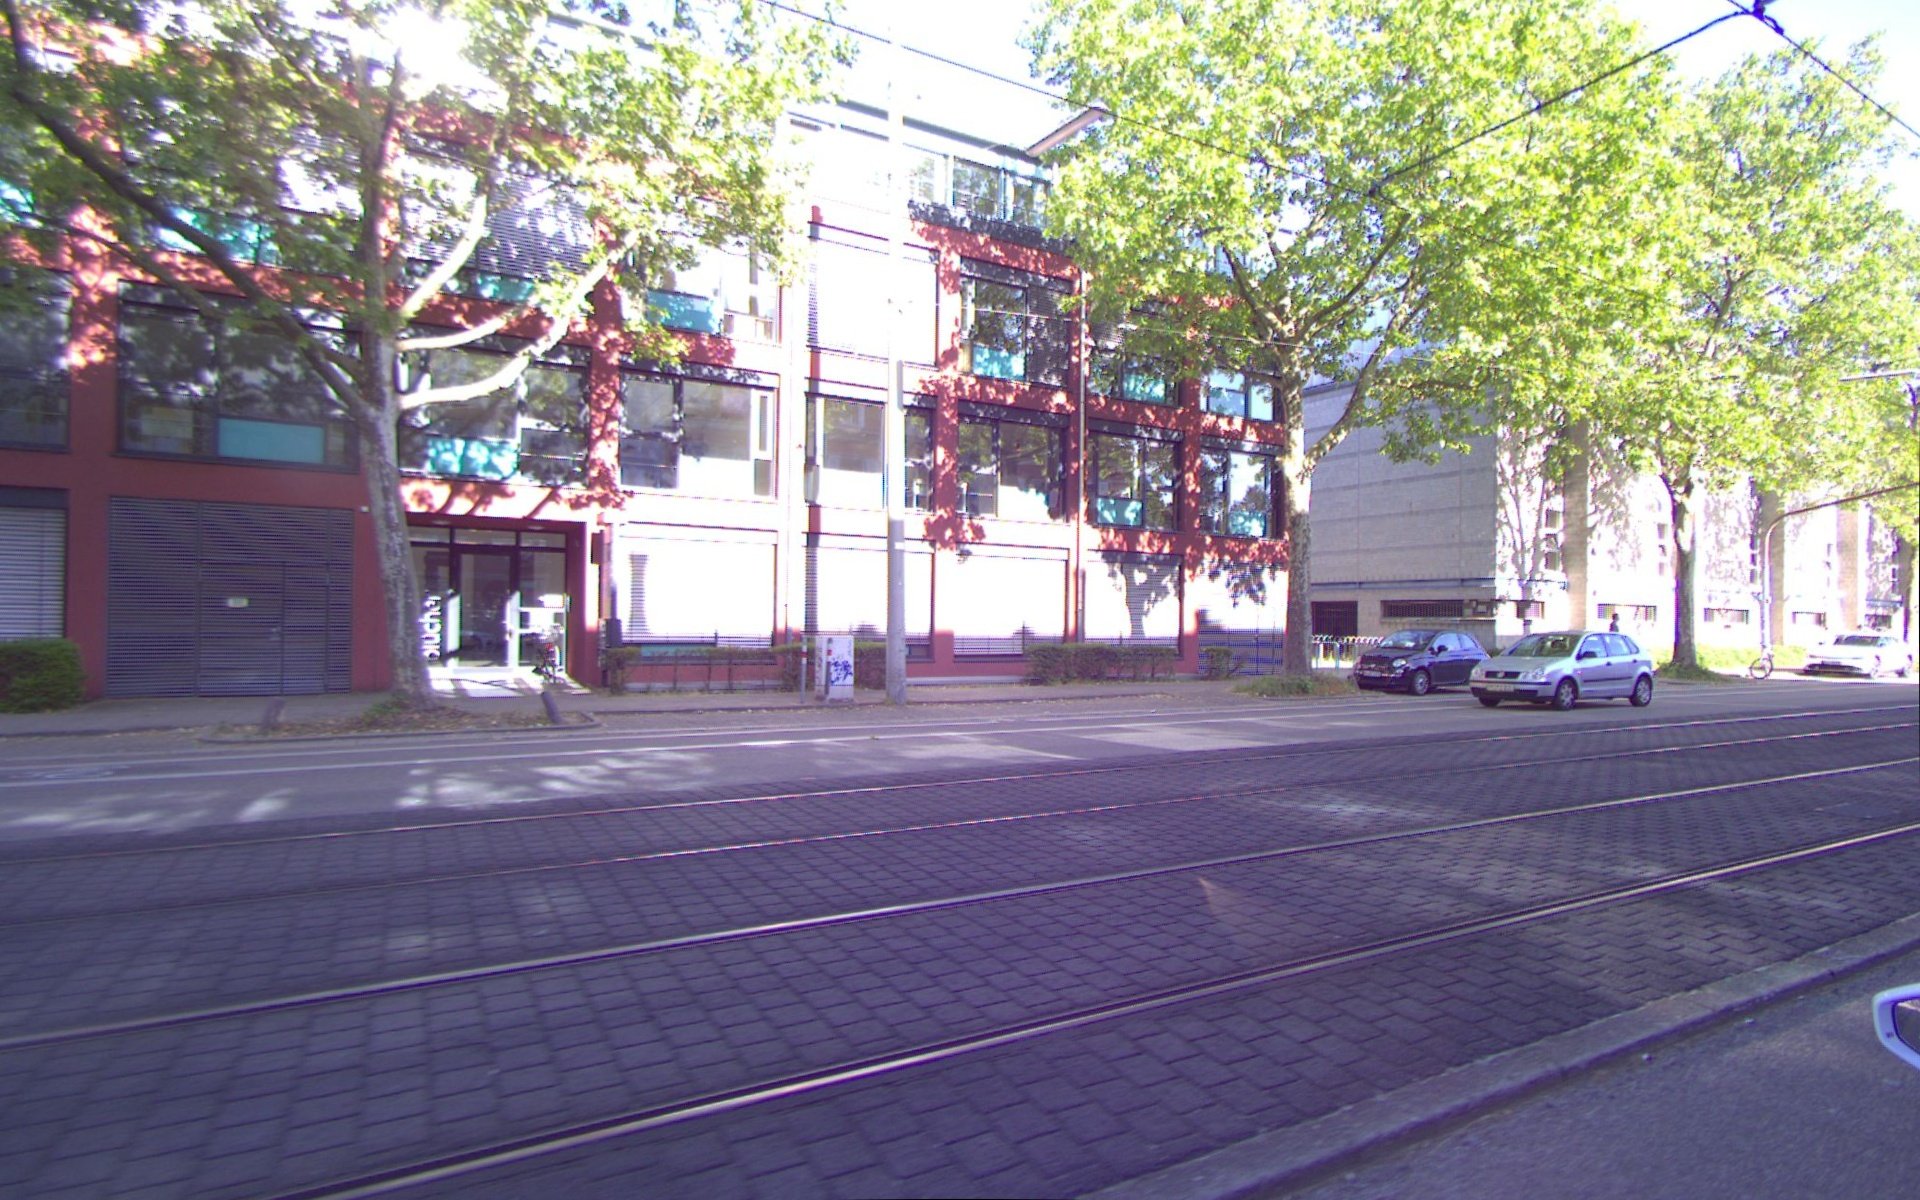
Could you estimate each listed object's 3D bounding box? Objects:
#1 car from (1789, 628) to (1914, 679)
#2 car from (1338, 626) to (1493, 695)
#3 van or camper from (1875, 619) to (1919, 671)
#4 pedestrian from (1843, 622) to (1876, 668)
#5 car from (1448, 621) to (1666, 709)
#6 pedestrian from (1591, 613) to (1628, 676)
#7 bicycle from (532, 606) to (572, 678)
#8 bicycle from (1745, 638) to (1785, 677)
[{"bbox_3d":[31.255,1.818,35.190,4.640,1.594,2.001,1,1,-31],"label":"car"},{"bbox_3d":[10.513,1.352,23.153,3.420,1.473,1.501,1,-1,-29],"label":"car"},{"bbox_3d":[40.059,1.820,40.405,5.096,1.976,2.063,1,1,-10],"label":"van or camper"},{"bbox_3d":[37.422,1.850,41.801,0.662,1.845,0.793,1,1,-30],"label":"pedestrian"},{"bbox_3d":[11.468,1.214,19.269,4.020,1.538,1.746,1,-3,-28],"label":"car"},{"bbox_3d":[20.017,1.358,30.991,0.657,1.895,0.788,1,1,11],"label":"pedestrian"},{"bbox_3d":[-8.046,0.792,19.760,0.610,1.289,2.055,1,1,-25],"label":"bicycle"},{"bbox_3d":[26.286,1.863,32.783,1.638,1.225,0.577,1,1,-36],"label":"bicycle"}]
